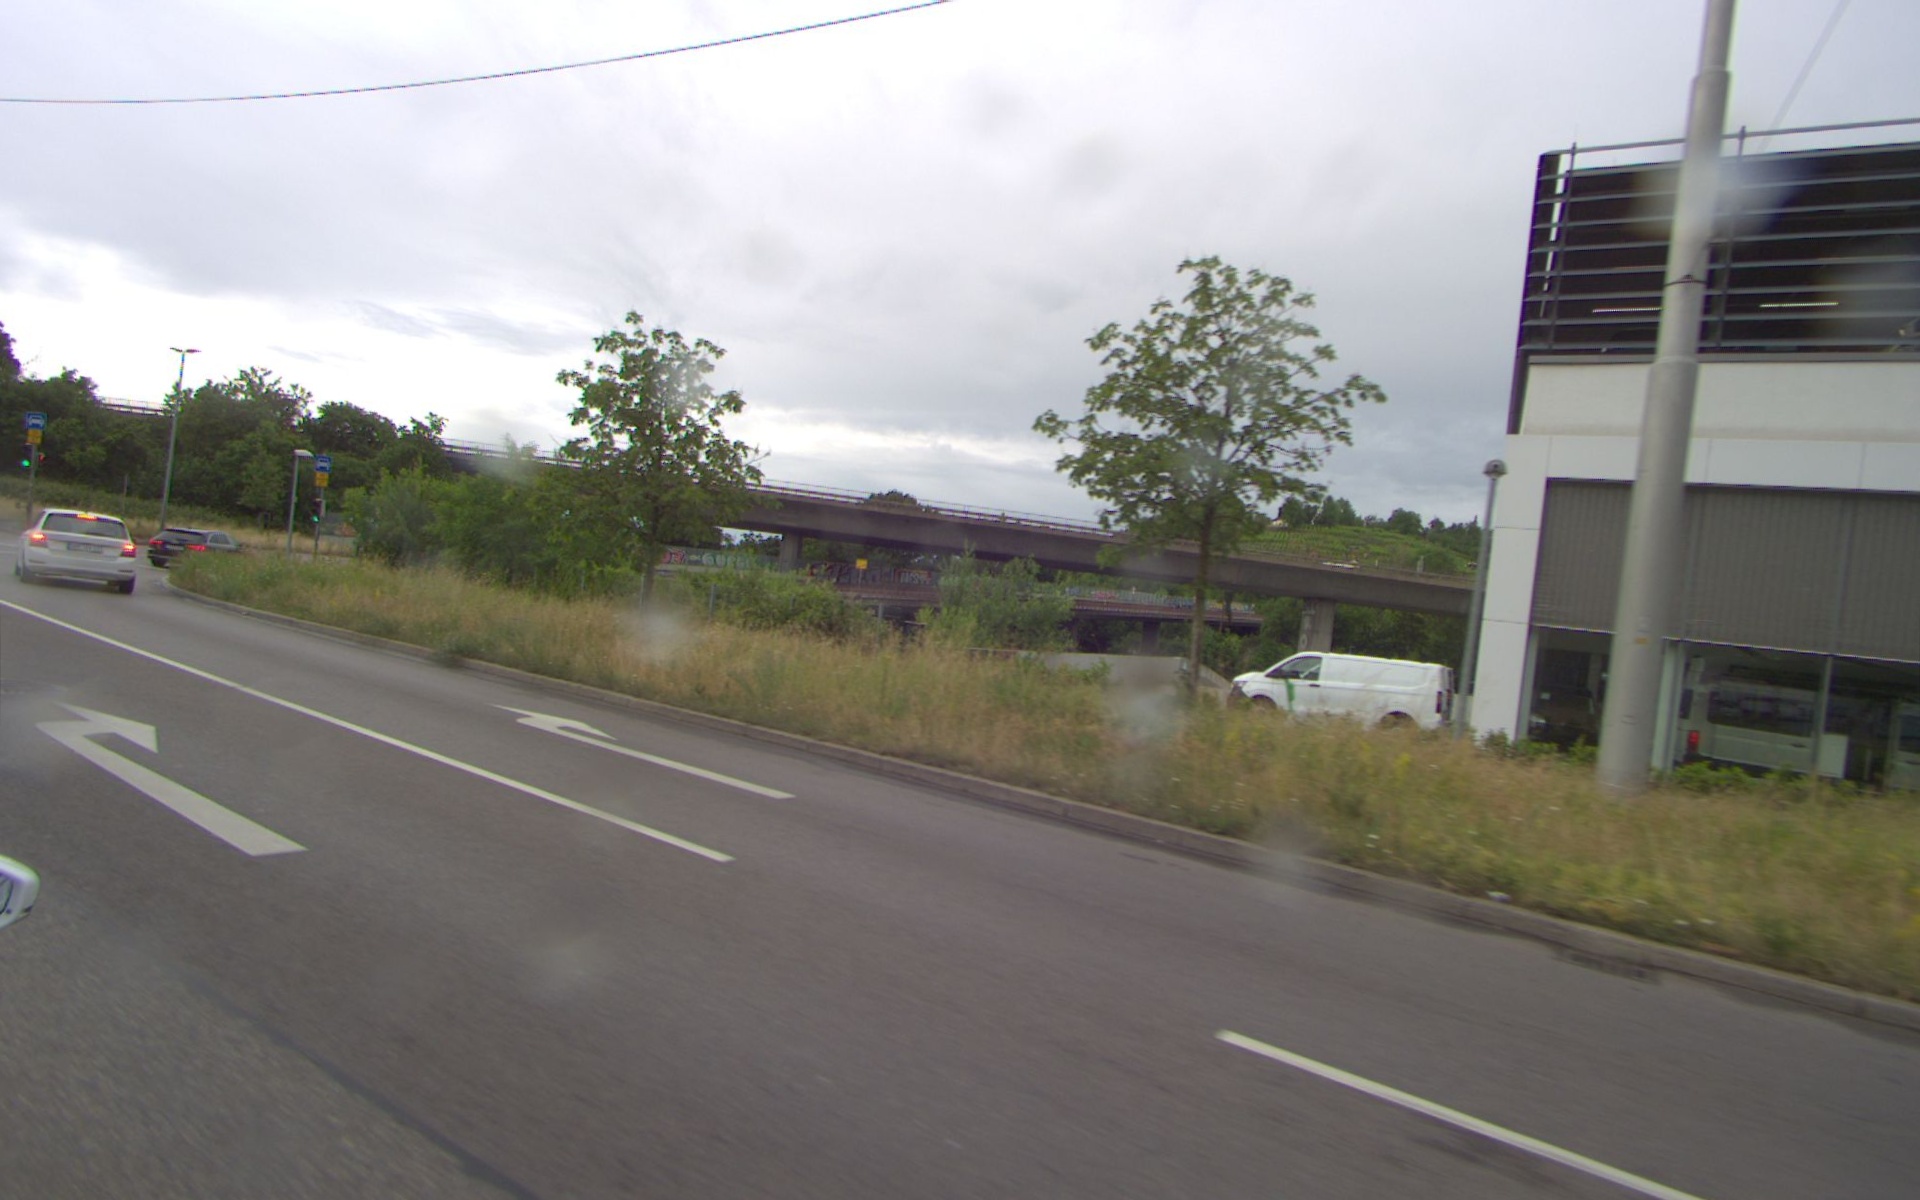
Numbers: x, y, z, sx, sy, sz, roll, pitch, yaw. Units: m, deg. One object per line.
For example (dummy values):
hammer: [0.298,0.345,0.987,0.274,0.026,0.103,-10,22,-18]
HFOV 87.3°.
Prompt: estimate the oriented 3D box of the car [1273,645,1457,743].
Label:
car: [11.784,2.715,29.328,4.623,2.073,1.953,7,-2,26]

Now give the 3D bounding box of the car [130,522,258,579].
car: [-25.798,-1.604,34.074,1.880,1.554,3.991,5,-1,-13]

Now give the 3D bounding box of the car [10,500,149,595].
car: [-17.623,-1.083,20.091,3.624,1.474,1.743,7,-2,45]

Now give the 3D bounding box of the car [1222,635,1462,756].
car: [9.156,2.220,24.198,5.001,2.038,2.049,7,-1,27]
